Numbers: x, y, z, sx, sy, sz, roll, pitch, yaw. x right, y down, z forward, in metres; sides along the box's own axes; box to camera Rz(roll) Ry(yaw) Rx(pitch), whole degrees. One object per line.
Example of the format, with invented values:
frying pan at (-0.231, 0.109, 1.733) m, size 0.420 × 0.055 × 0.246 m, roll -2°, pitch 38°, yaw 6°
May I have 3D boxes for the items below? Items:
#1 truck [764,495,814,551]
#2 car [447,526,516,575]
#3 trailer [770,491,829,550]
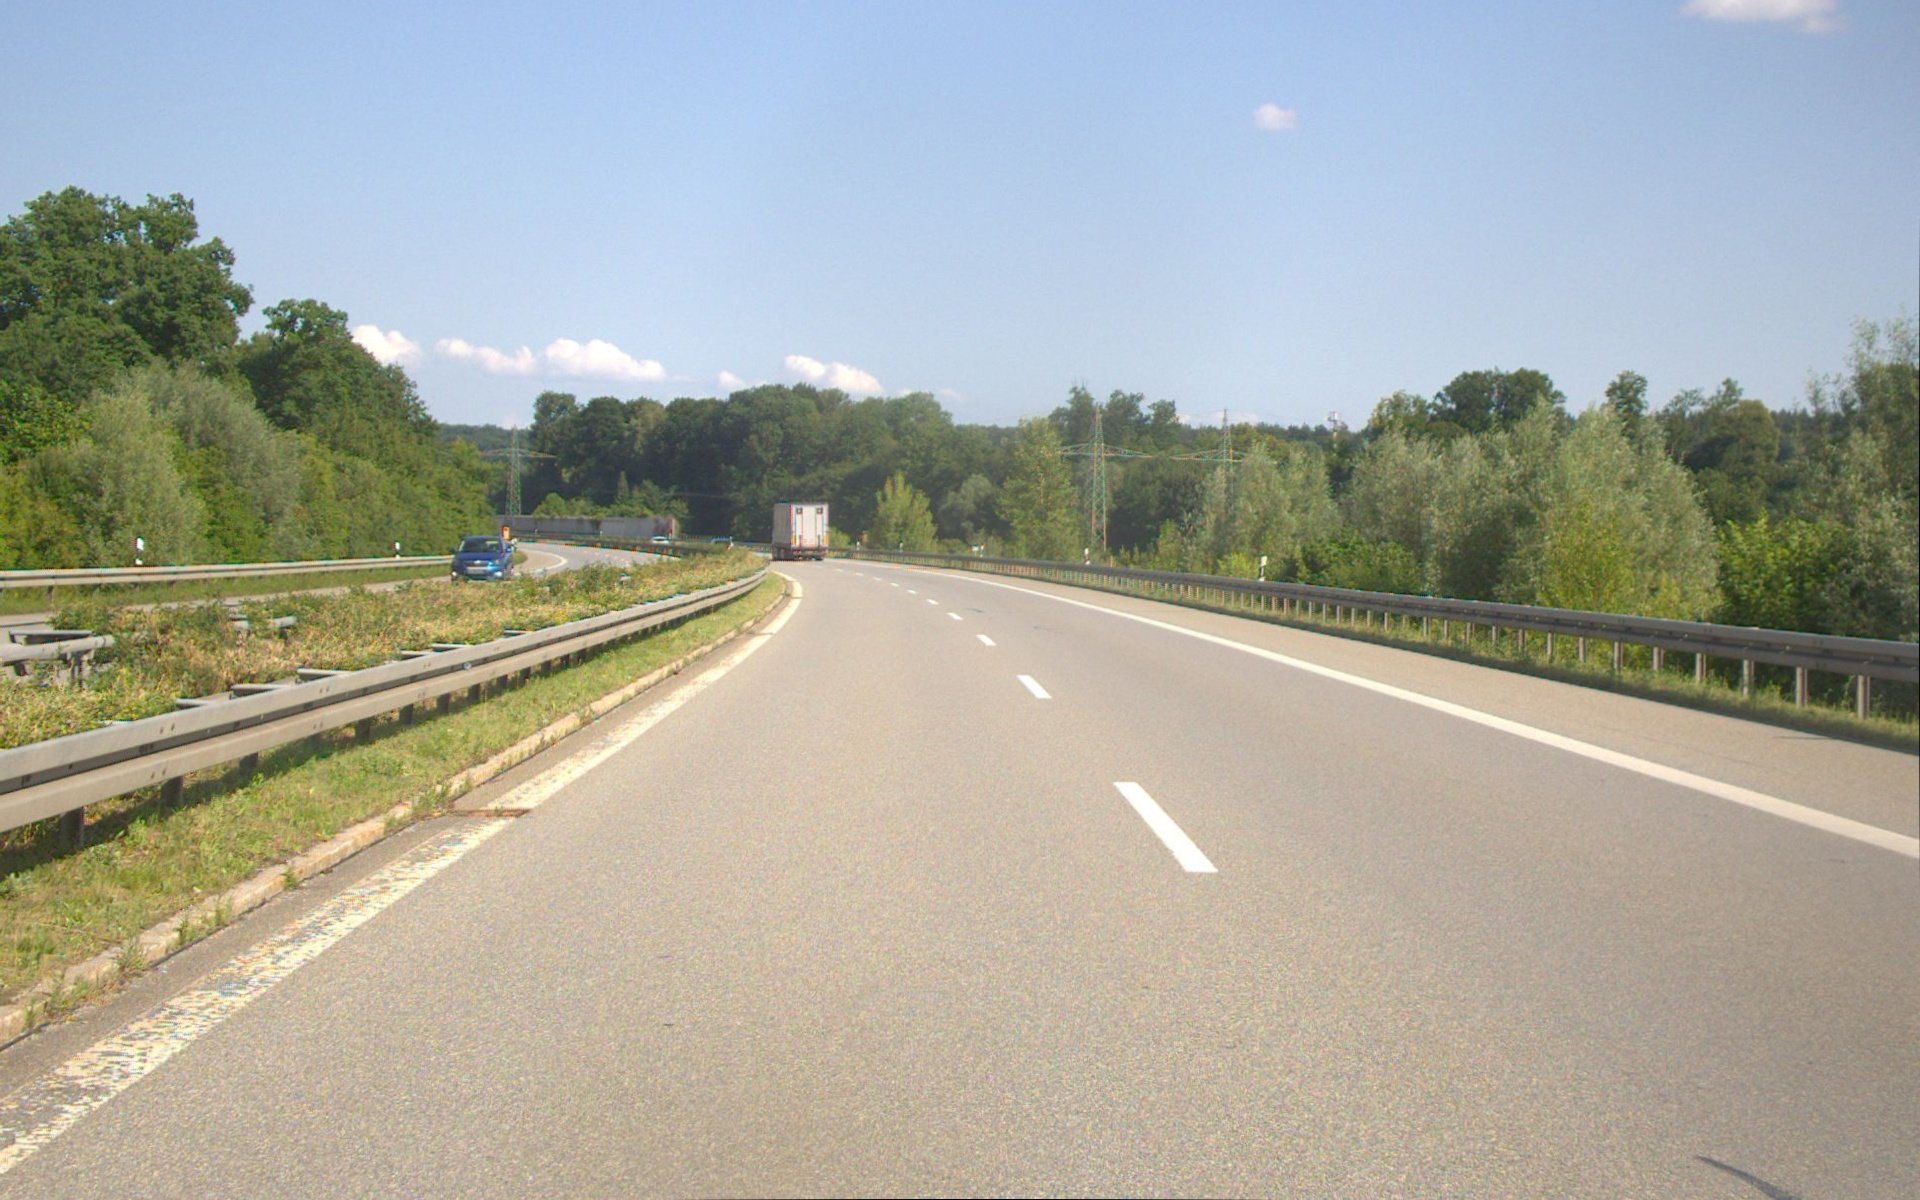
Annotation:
truck at (-12.394, -5.599, 248.464) m, size 2.829 × 3.998 × 6.589 m, roll 0°, pitch 2°, yaw -10°
car at (-14.542, -1.522, 104.672) m, size 1.676 × 1.436 × 4.001 m, roll 0°, pitch 1°, yaw -2°
trailer at (-11.380, -5.606, 242.094) m, size 2.883 × 4.052 × 12.424 m, roll 0°, pitch 2°, yaw -9°
